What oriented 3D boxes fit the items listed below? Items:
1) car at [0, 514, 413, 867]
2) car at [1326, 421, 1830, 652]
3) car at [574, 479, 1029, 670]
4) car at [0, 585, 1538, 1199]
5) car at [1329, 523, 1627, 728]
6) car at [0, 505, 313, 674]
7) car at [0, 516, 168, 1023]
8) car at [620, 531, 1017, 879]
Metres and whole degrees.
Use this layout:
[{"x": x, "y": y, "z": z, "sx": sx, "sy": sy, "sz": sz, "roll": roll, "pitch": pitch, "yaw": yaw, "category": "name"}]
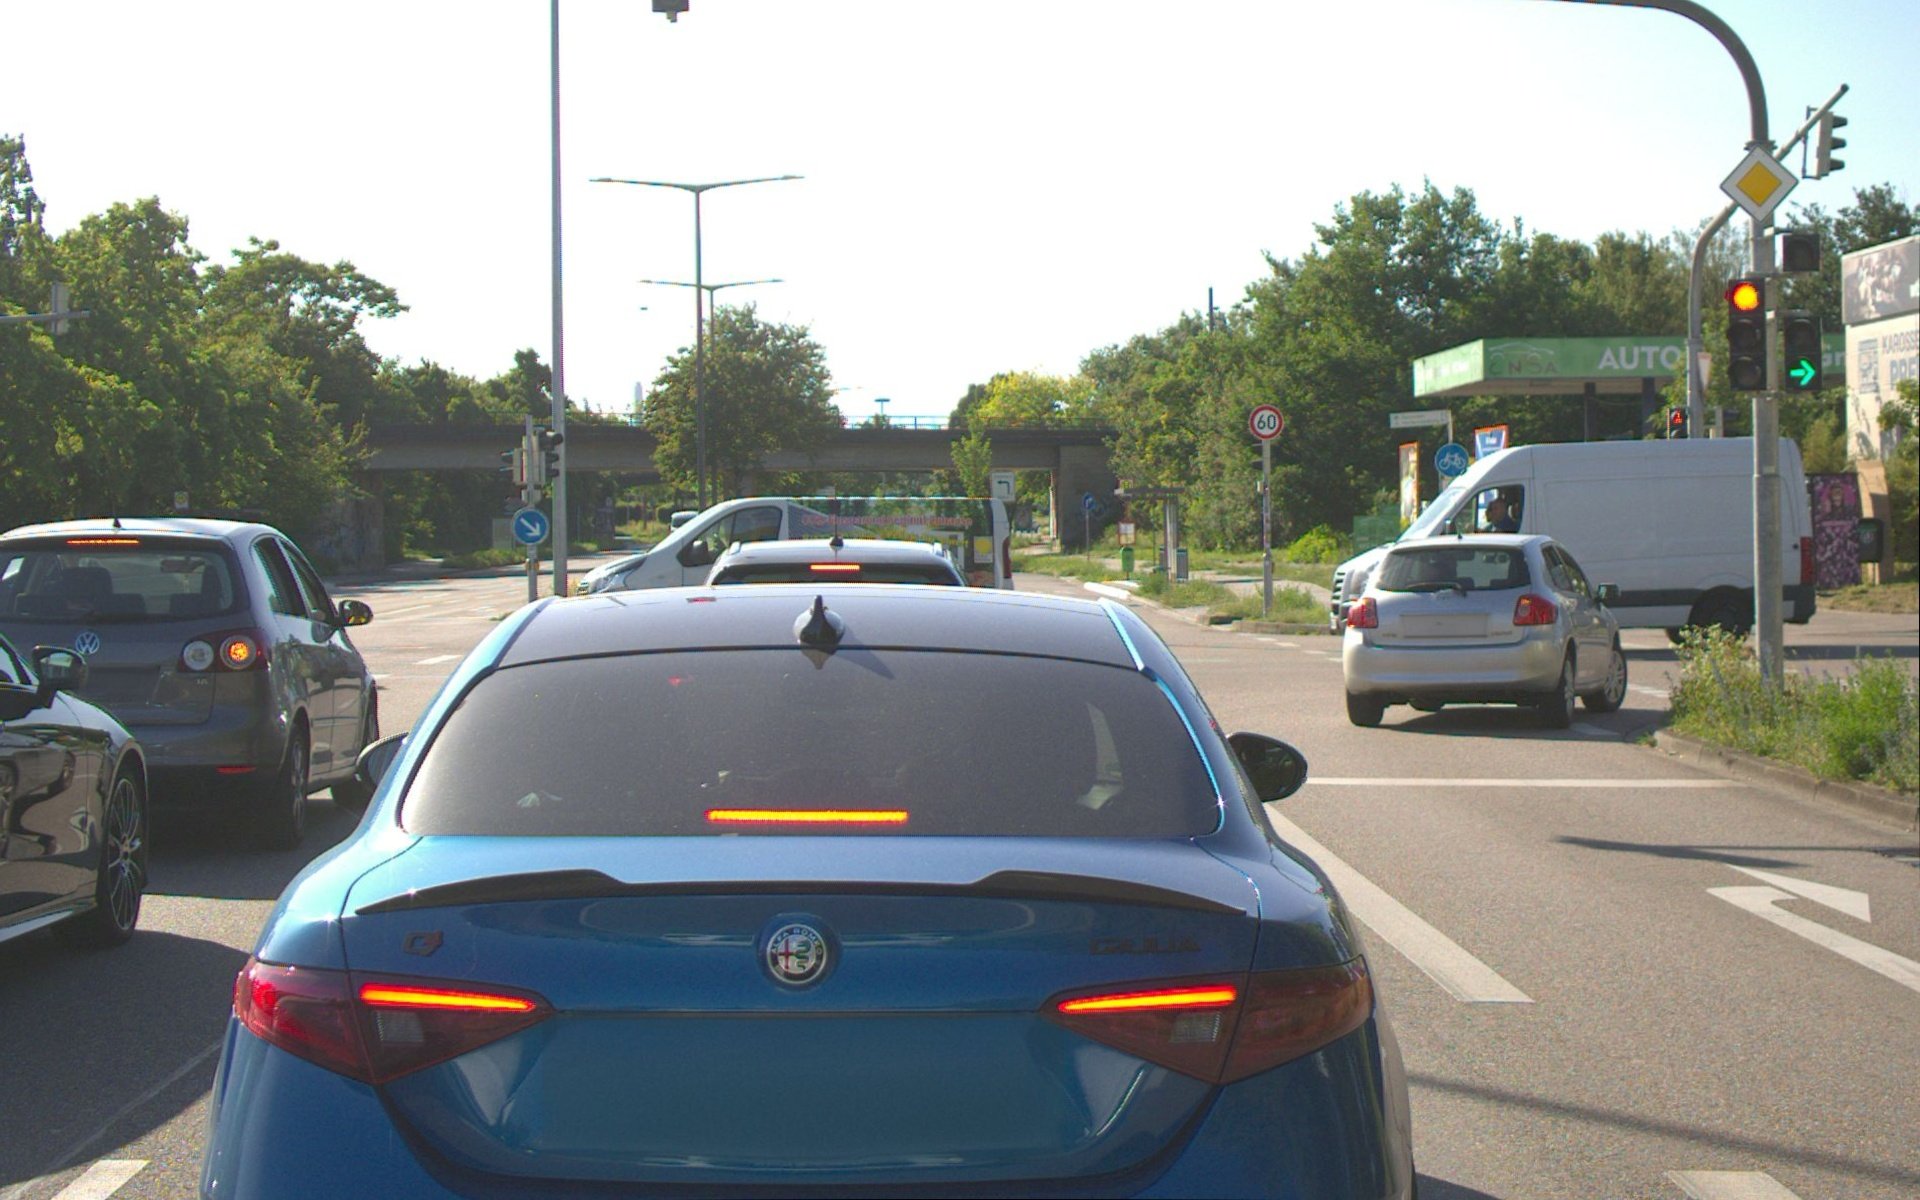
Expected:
[{"x": -3.961, "y": 0.376, "z": 17.401, "sx": 1.812, "sy": 1.546, "sz": 4.354, "roll": 1, "pitch": 1, "yaw": -2, "category": "car"}, {"x": 7.586, "y": -0.780, "z": 42.624, "sx": 5.835, "sy": 2.663, "sz": 2.000, "roll": -1, "pitch": 0, "yaw": 1, "category": "car"}, {"x": -1.831, "y": -0.301, "z": 38.805, "sx": 4.953, "sy": 2.029, "sz": 1.881, "roll": -1, "pitch": 1, "yaw": -7, "category": "car"}, {"x": -0.220, "y": 0.704, "z": 6.102, "sx": 1.910, "sy": 1.418, "sz": 3.719, "roll": 1, "pitch": 1, "yaw": 1, "category": "car"}, {"x": 4.320, "y": 0.152, "z": 28.203, "sx": 1.785, "sy": 1.531, "sz": 4.105, "roll": 1, "pitch": 1, "yaw": 17, "category": "car"}, {"x": -8.892, "y": -0.110, "z": 34.749, "sx": 4.306, "sy": 1.644, "sz": 1.638, "roll": 0, "pitch": 1, "yaw": -35, "category": "car"}, {"x": -3.829, "y": 0.508, "z": 10.602, "sx": 1.812, "sy": 1.546, "sz": 4.544, "roll": 0, "pitch": 1, "yaw": -1, "category": "car"}, {"x": -0.587, "y": 0.440, "z": 16.856, "sx": 1.704, "sy": 1.492, "sz": 3.719, "roll": 1, "pitch": 0, "yaw": 1, "category": "car"}]
